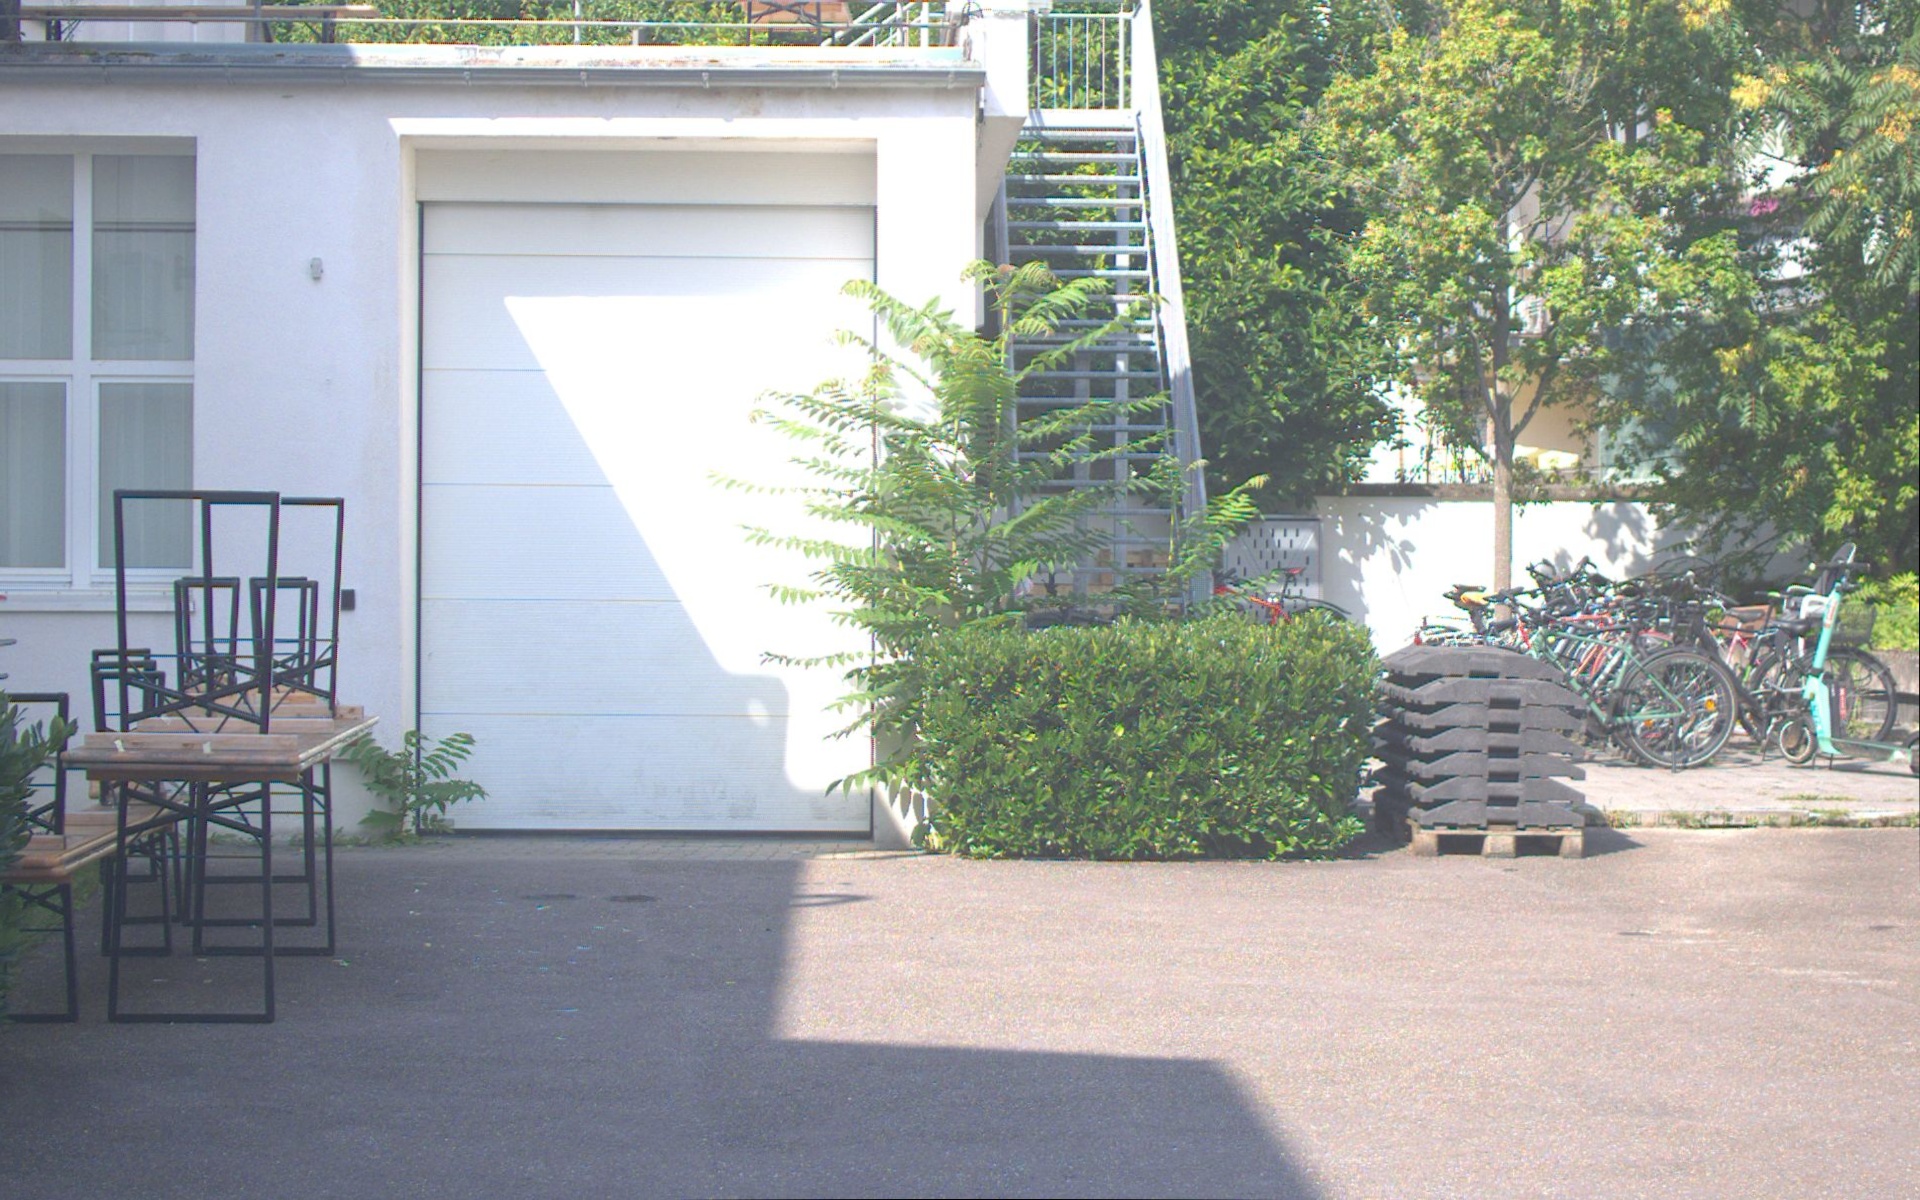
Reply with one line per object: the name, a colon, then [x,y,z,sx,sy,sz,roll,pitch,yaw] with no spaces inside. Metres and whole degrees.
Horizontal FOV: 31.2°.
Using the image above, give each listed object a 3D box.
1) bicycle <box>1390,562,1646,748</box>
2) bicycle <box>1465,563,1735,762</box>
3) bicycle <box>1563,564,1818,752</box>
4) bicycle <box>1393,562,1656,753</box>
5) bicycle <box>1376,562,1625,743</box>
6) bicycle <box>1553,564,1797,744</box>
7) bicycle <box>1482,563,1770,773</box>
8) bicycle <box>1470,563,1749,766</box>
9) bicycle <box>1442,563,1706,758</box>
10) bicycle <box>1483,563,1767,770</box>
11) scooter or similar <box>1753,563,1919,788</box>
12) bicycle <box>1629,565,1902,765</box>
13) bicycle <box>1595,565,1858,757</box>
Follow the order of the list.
bicycle: [3.719,0.358,22.930,1.623,1.210,0.424,-1,1,-7]
bicycle: [3.948,0.381,21.259,1.623,1.210,0.327,0,1,9]
bicycle: [4.793,0.377,22.613,1.624,1.210,0.424,0,1,11]
bicycle: [3.653,0.365,22.294,1.623,1.210,0.424,0,1,-2]
bicycle: [3.697,0.351,23.532,1.623,1.210,0.424,-1,1,-6]
bicycle: [4.907,0.366,23.642,1.624,1.210,0.424,0,1,11]
bicycle: [3.906,0.394,20.192,1.623,1.210,0.327,0,1,0]
bicycle: [3.925,0.386,20.807,1.623,1.210,0.327,0,1,0]
bicycle: [3.860,0.376,21.622,1.624,1.210,0.327,0,1,12]
bicycle: [3.963,0.390,20.514,1.623,1.210,0.327,0,1,0]
scooter or similar: [5.244,0.421,19.974,0.378,1.256,1.349,-1,1,-33]
bicycle: [4.955,0.396,21.180,1.624,1.210,0.327,0,1,14]
bicycle: [4.905,0.386,22.040,1.624,1.210,0.424,0,1,12]
